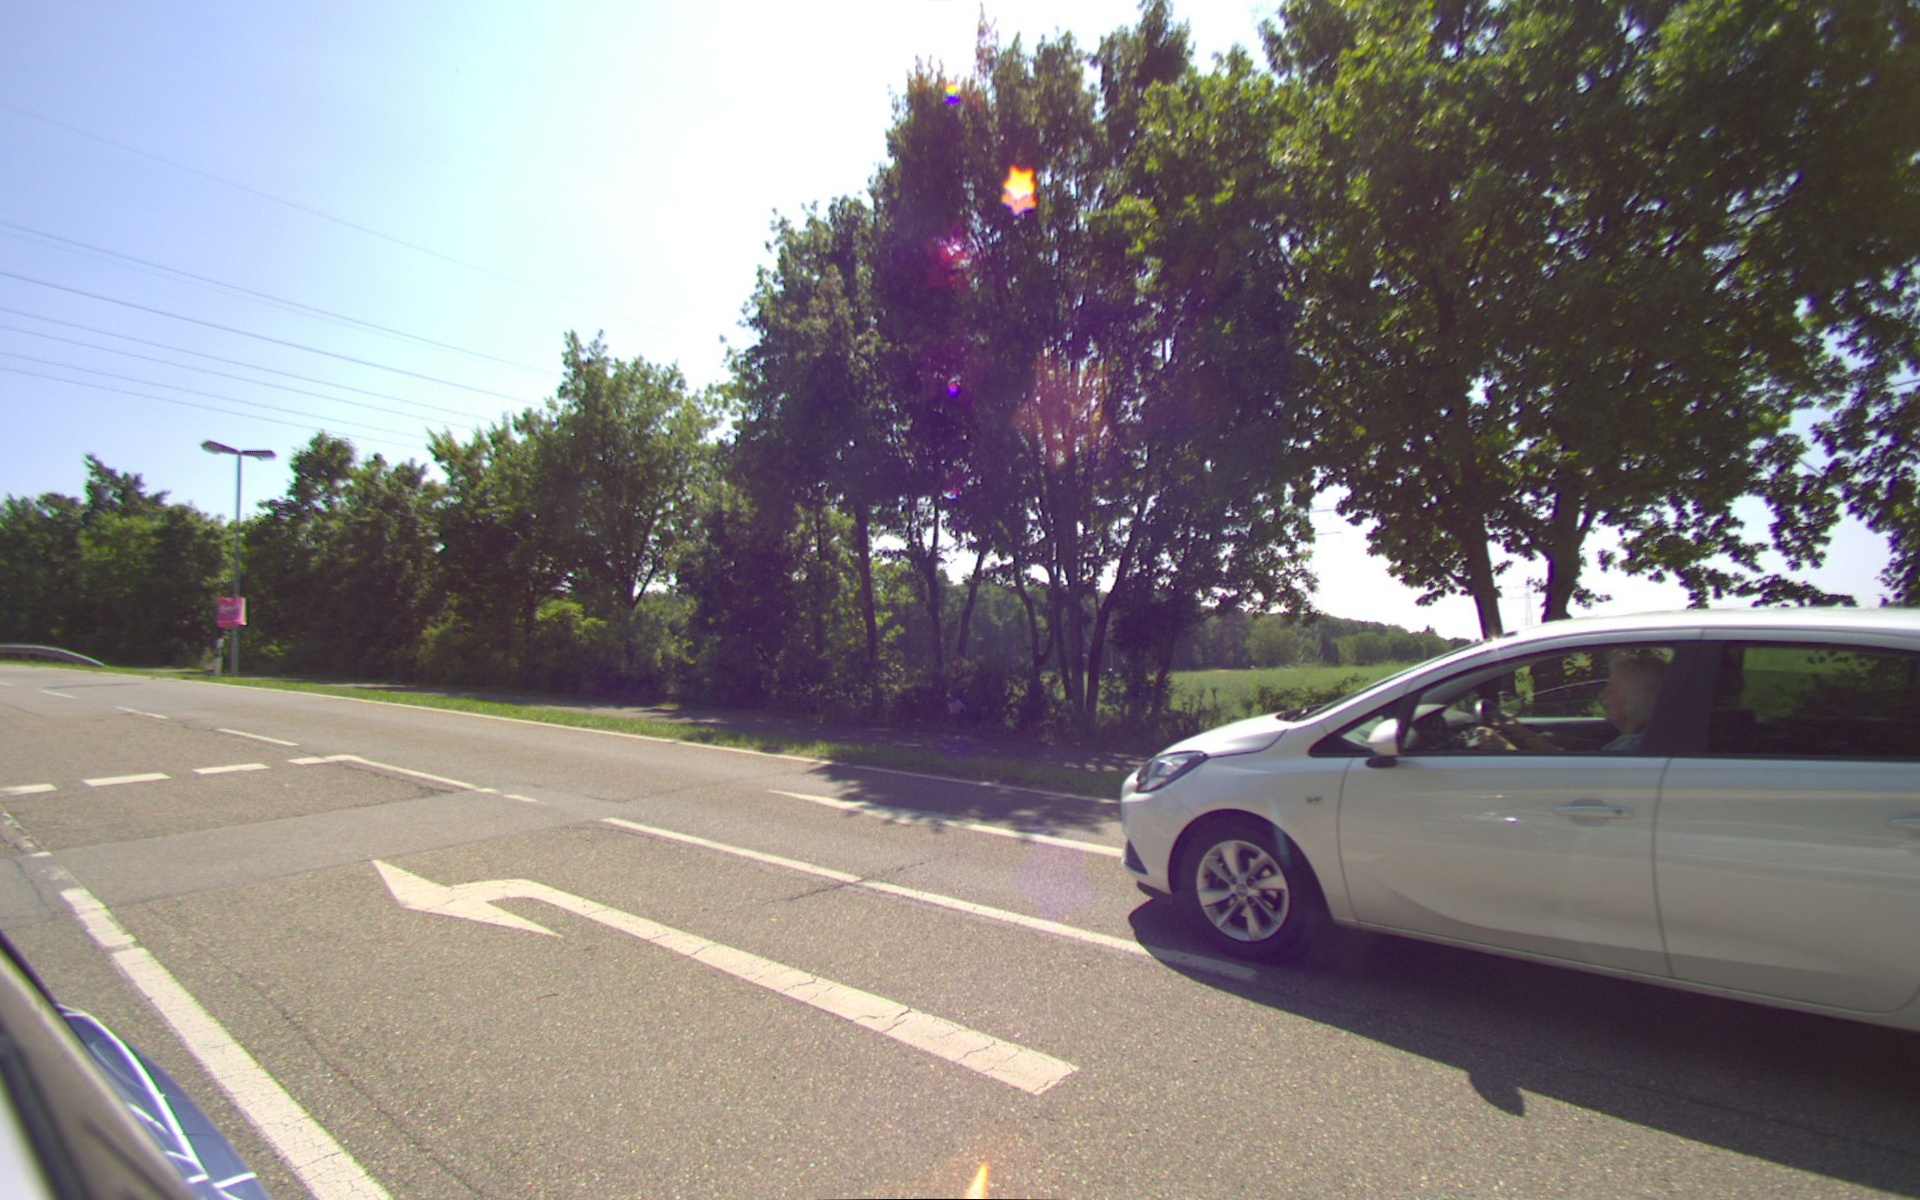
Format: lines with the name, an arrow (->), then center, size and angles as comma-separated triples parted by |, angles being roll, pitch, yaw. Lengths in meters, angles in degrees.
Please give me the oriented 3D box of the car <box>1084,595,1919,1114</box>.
car -> 2.578, 0.731, 3.981 | 3.894, 1.445, 1.632 | -2, -1, 41
